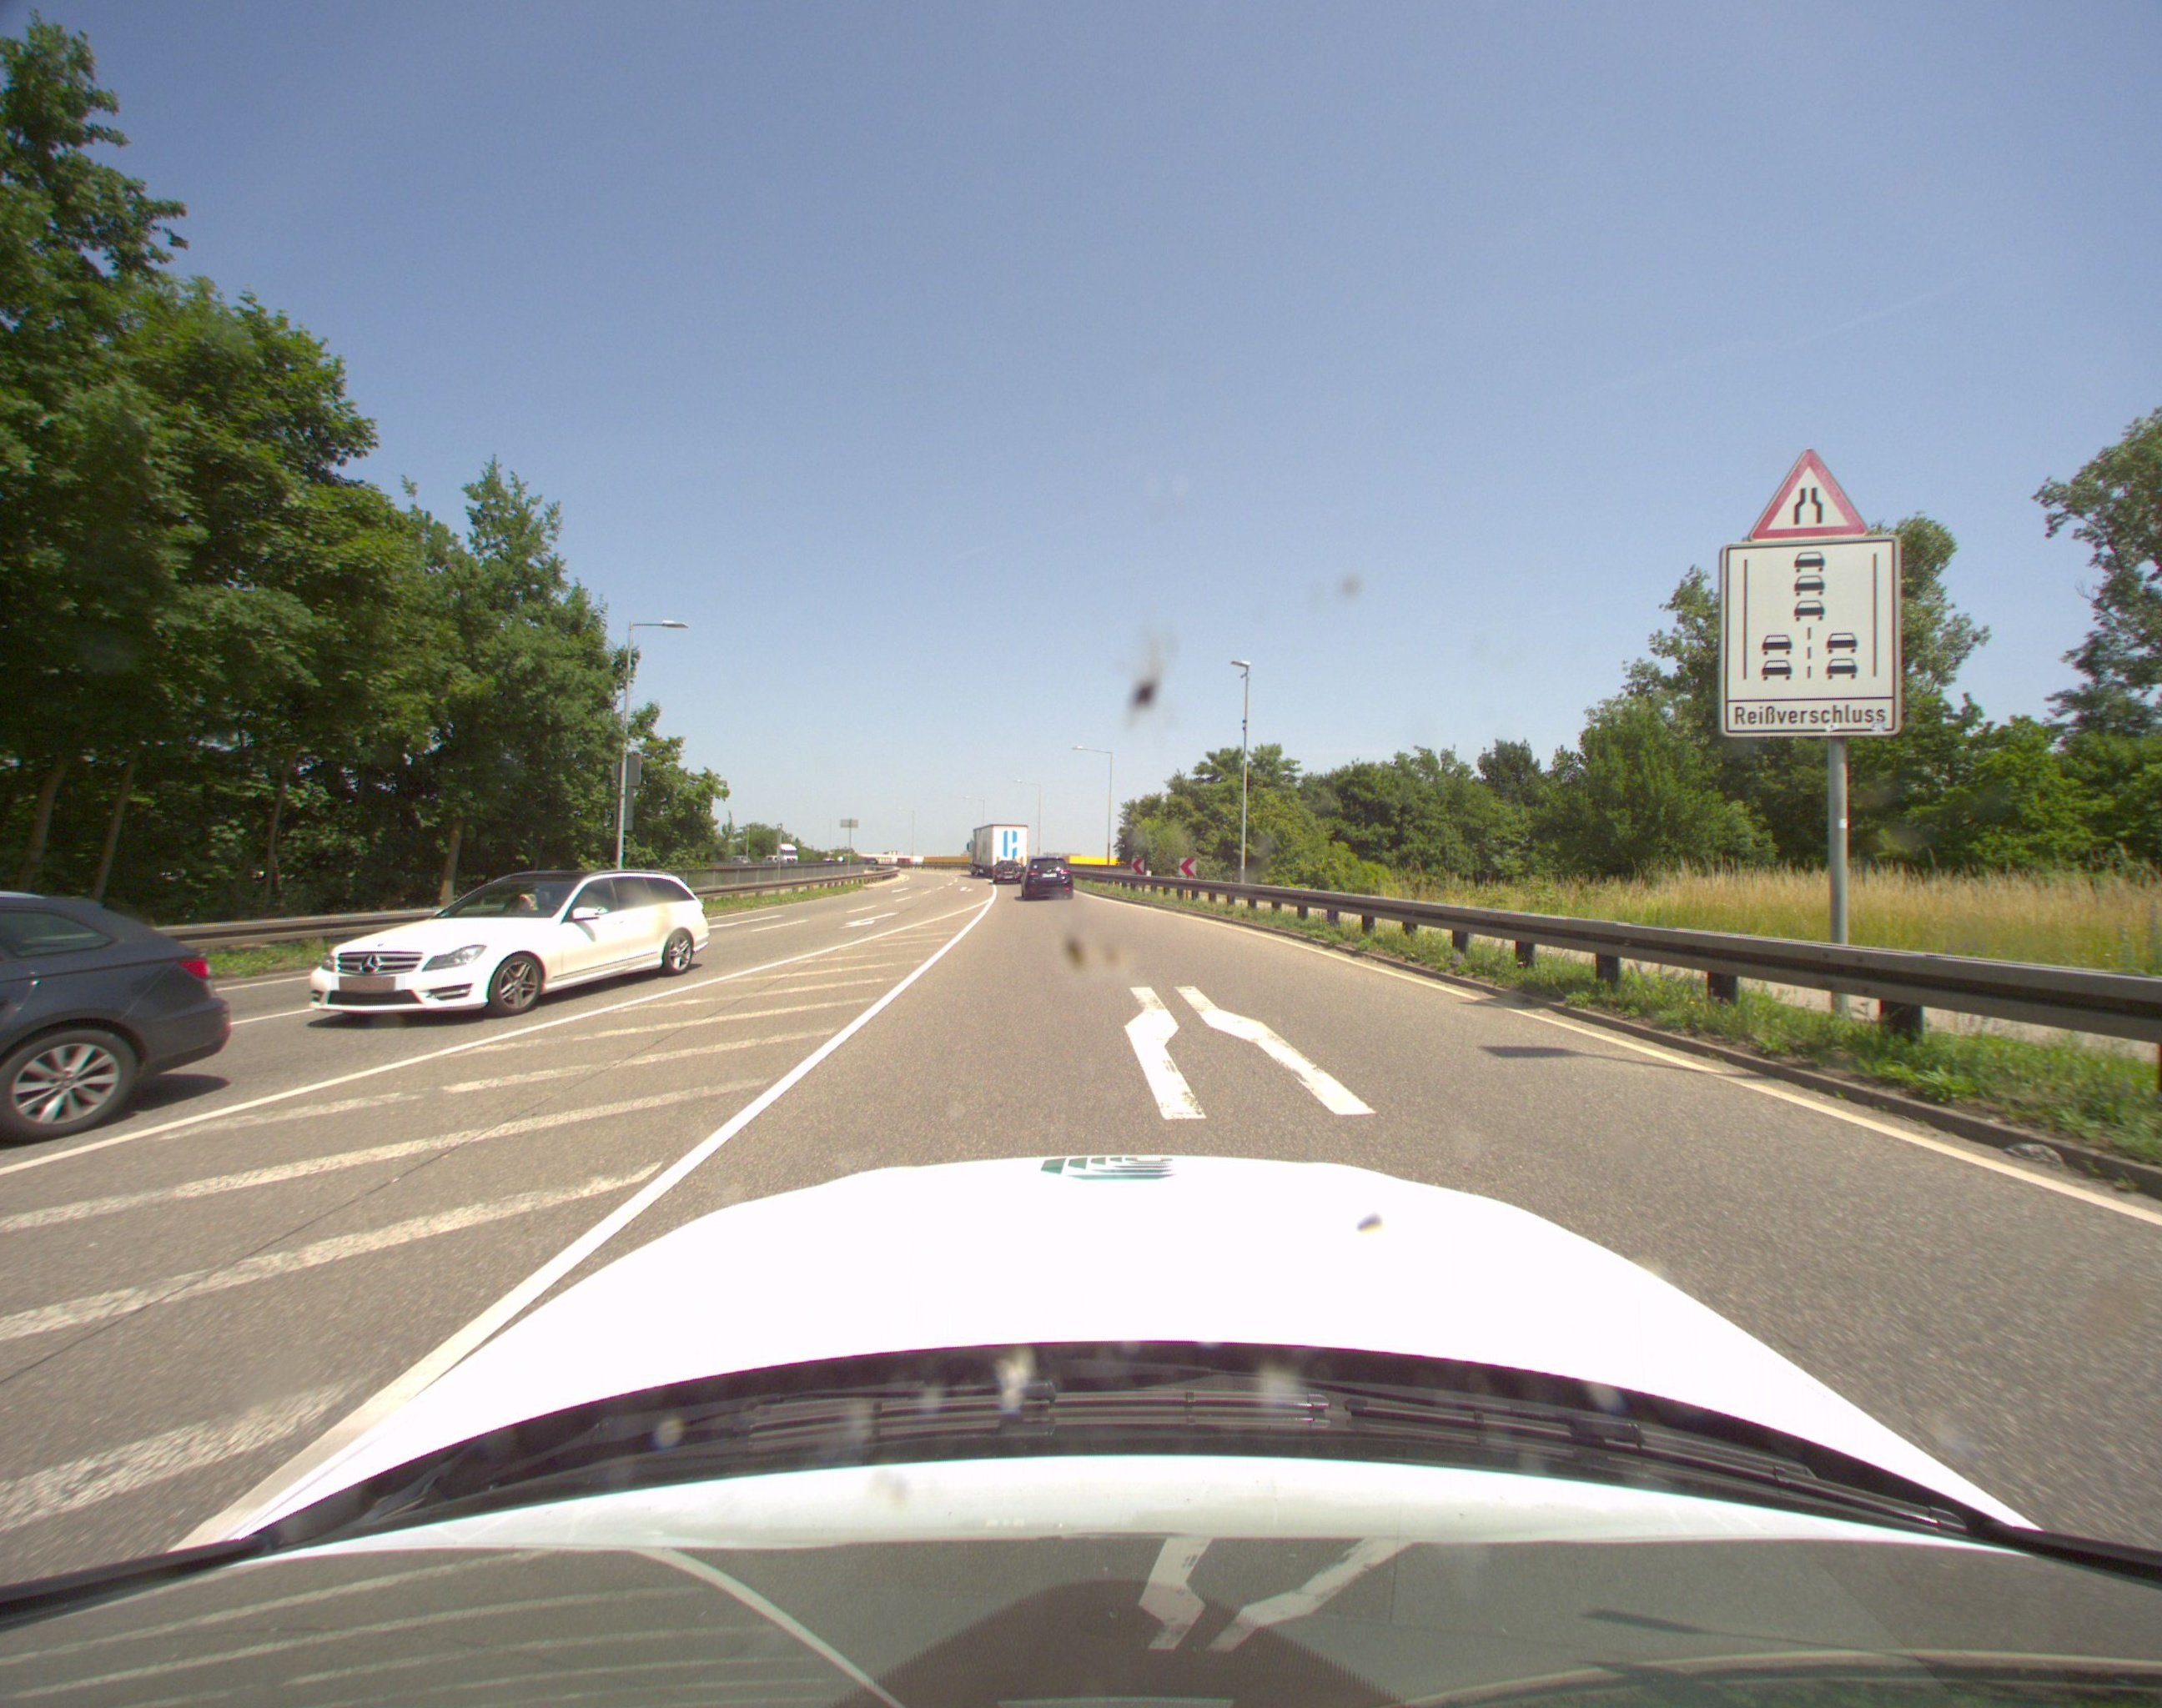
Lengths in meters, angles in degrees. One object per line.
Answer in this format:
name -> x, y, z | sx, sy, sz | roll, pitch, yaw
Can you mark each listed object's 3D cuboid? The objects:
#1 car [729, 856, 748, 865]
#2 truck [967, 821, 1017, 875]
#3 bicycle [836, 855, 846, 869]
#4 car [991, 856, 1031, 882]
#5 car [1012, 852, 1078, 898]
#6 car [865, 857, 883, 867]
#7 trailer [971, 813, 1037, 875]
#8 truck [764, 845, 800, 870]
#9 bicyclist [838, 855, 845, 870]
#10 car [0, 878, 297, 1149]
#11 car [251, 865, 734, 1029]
car -> -60.018, 1.120, 142.851 | 3.569, 1.386, 1.574 | 1, 0, 39
truck -> -7.823, -0.458, 70.878 | 3.576, 4.441, 6.486 | 1, 0, -13
bicycle -> -30.618, 1.055, 104.001 | 0.703, 1.801, 2.159 | 1, -1, -32
car -> -4.116, 0.866, 48.365 | 2.005, 1.429, 3.775 | 1, 0, -1
car -> -1.419, 0.725, 30.153 | 1.922, 1.574, 3.877 | 1, 0, -10
car -> -29.954, 1.154, 117.759 | 1.849, 1.508, 3.605 | 1, 0, -25
trailer -> -6.234, -0.714, 63.687 | 3.574, 4.384, 11.388 | 1, 0, -13
truck -> -49.269, 0.603, 134.037 | 6.106, 3.991, 2.732 | 1, -1, 38
bicyclist -> -30.491, 1.070, 103.790 | 0.628, 1.886, 0.705 | 1, -1, -31
car -> -6.736, 0.862, 3.603 | 1.818, 1.406, 4.555 | 0, 0, 7
car -> -6.362, 0.878, 9.762 | 1.818, 1.406, 4.897 | -2, -1, 7
